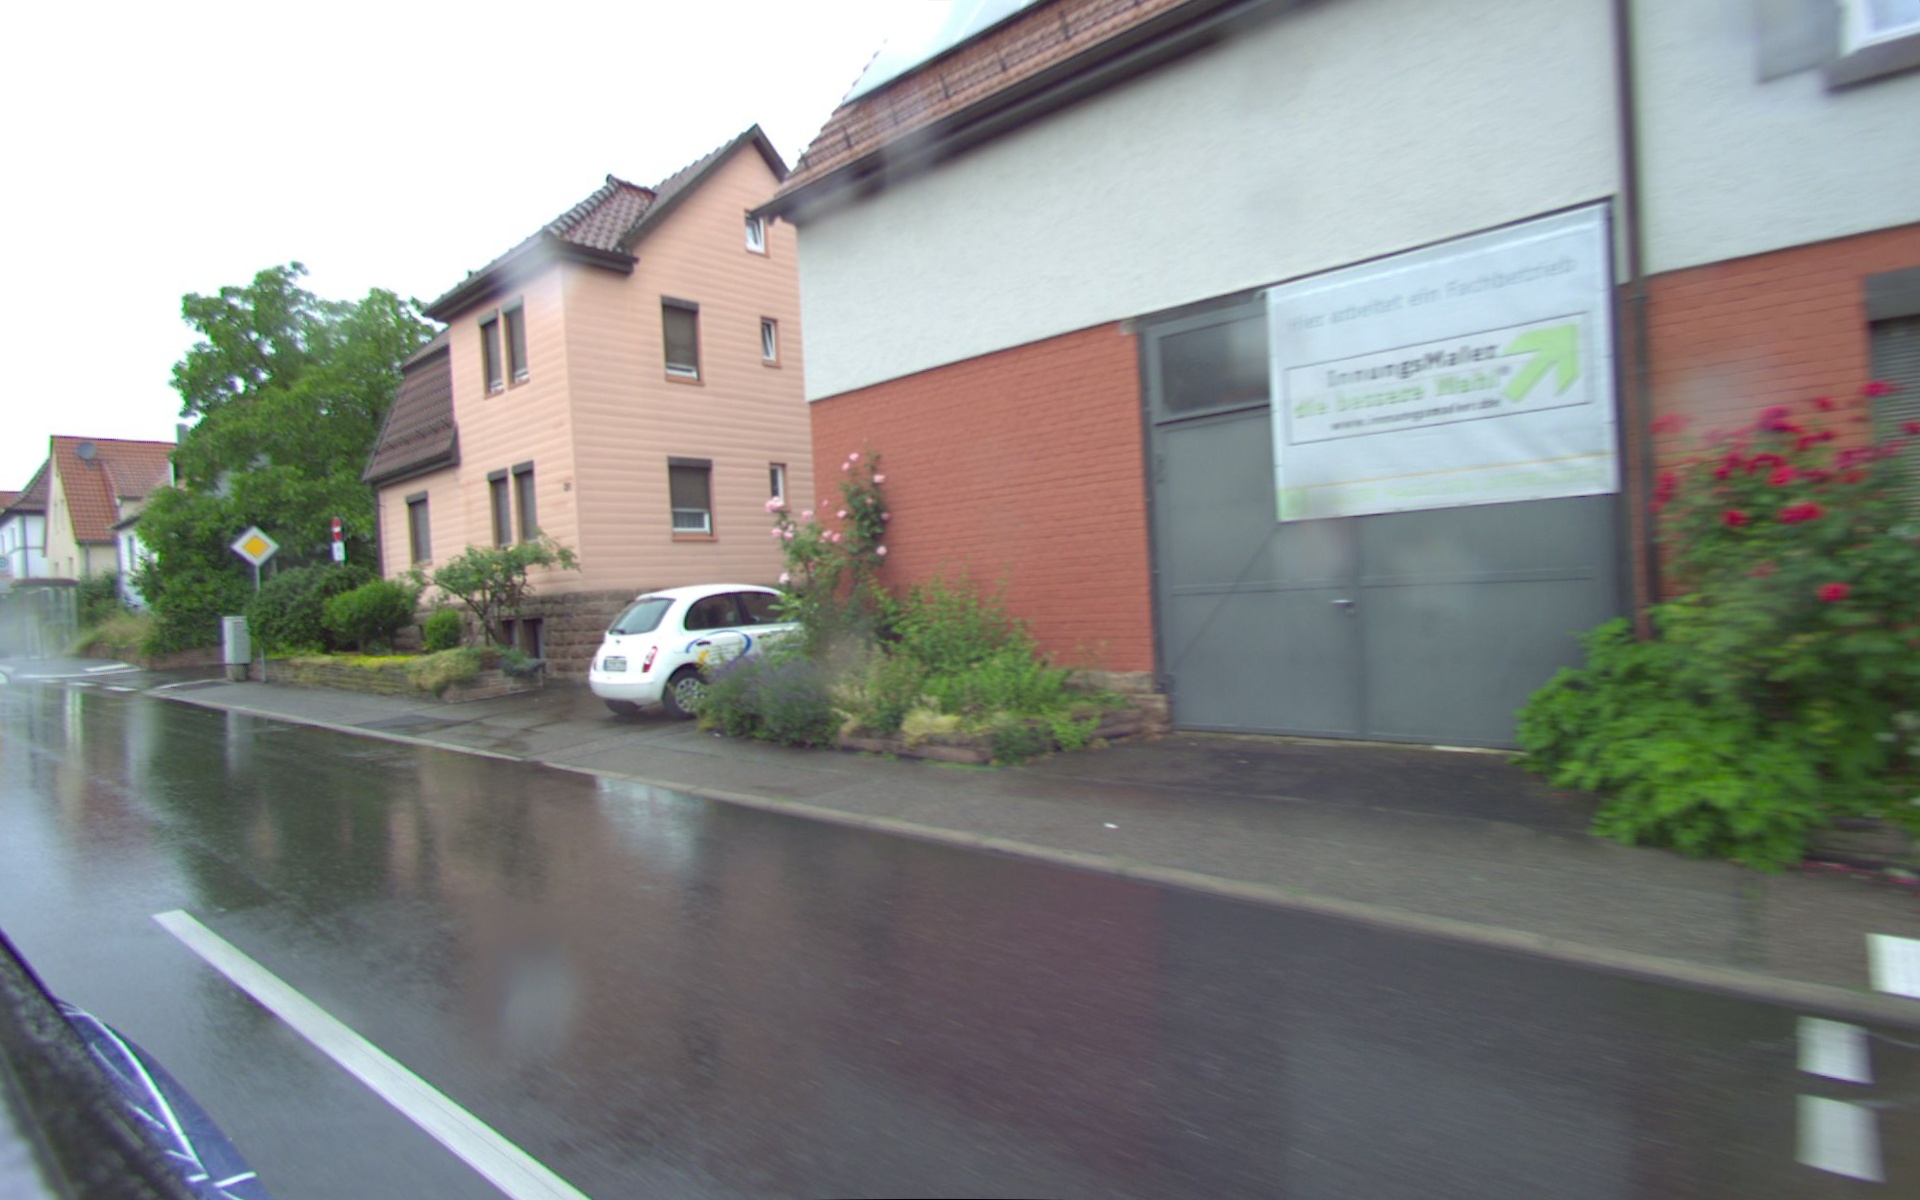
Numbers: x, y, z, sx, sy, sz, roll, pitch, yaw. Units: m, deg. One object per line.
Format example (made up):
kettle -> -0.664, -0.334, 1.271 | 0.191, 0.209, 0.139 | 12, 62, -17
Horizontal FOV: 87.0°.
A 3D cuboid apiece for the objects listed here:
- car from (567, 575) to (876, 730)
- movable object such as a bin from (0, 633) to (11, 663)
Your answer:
car -> -2.963, 0.573, 13.071 | 1.662, 1.540, 3.509 | -2, 3, 41
movable object such as a bin -> -35.352, 1.781, 37.198 | 0.527, 1.090, 0.547 | -2, 3, 42
